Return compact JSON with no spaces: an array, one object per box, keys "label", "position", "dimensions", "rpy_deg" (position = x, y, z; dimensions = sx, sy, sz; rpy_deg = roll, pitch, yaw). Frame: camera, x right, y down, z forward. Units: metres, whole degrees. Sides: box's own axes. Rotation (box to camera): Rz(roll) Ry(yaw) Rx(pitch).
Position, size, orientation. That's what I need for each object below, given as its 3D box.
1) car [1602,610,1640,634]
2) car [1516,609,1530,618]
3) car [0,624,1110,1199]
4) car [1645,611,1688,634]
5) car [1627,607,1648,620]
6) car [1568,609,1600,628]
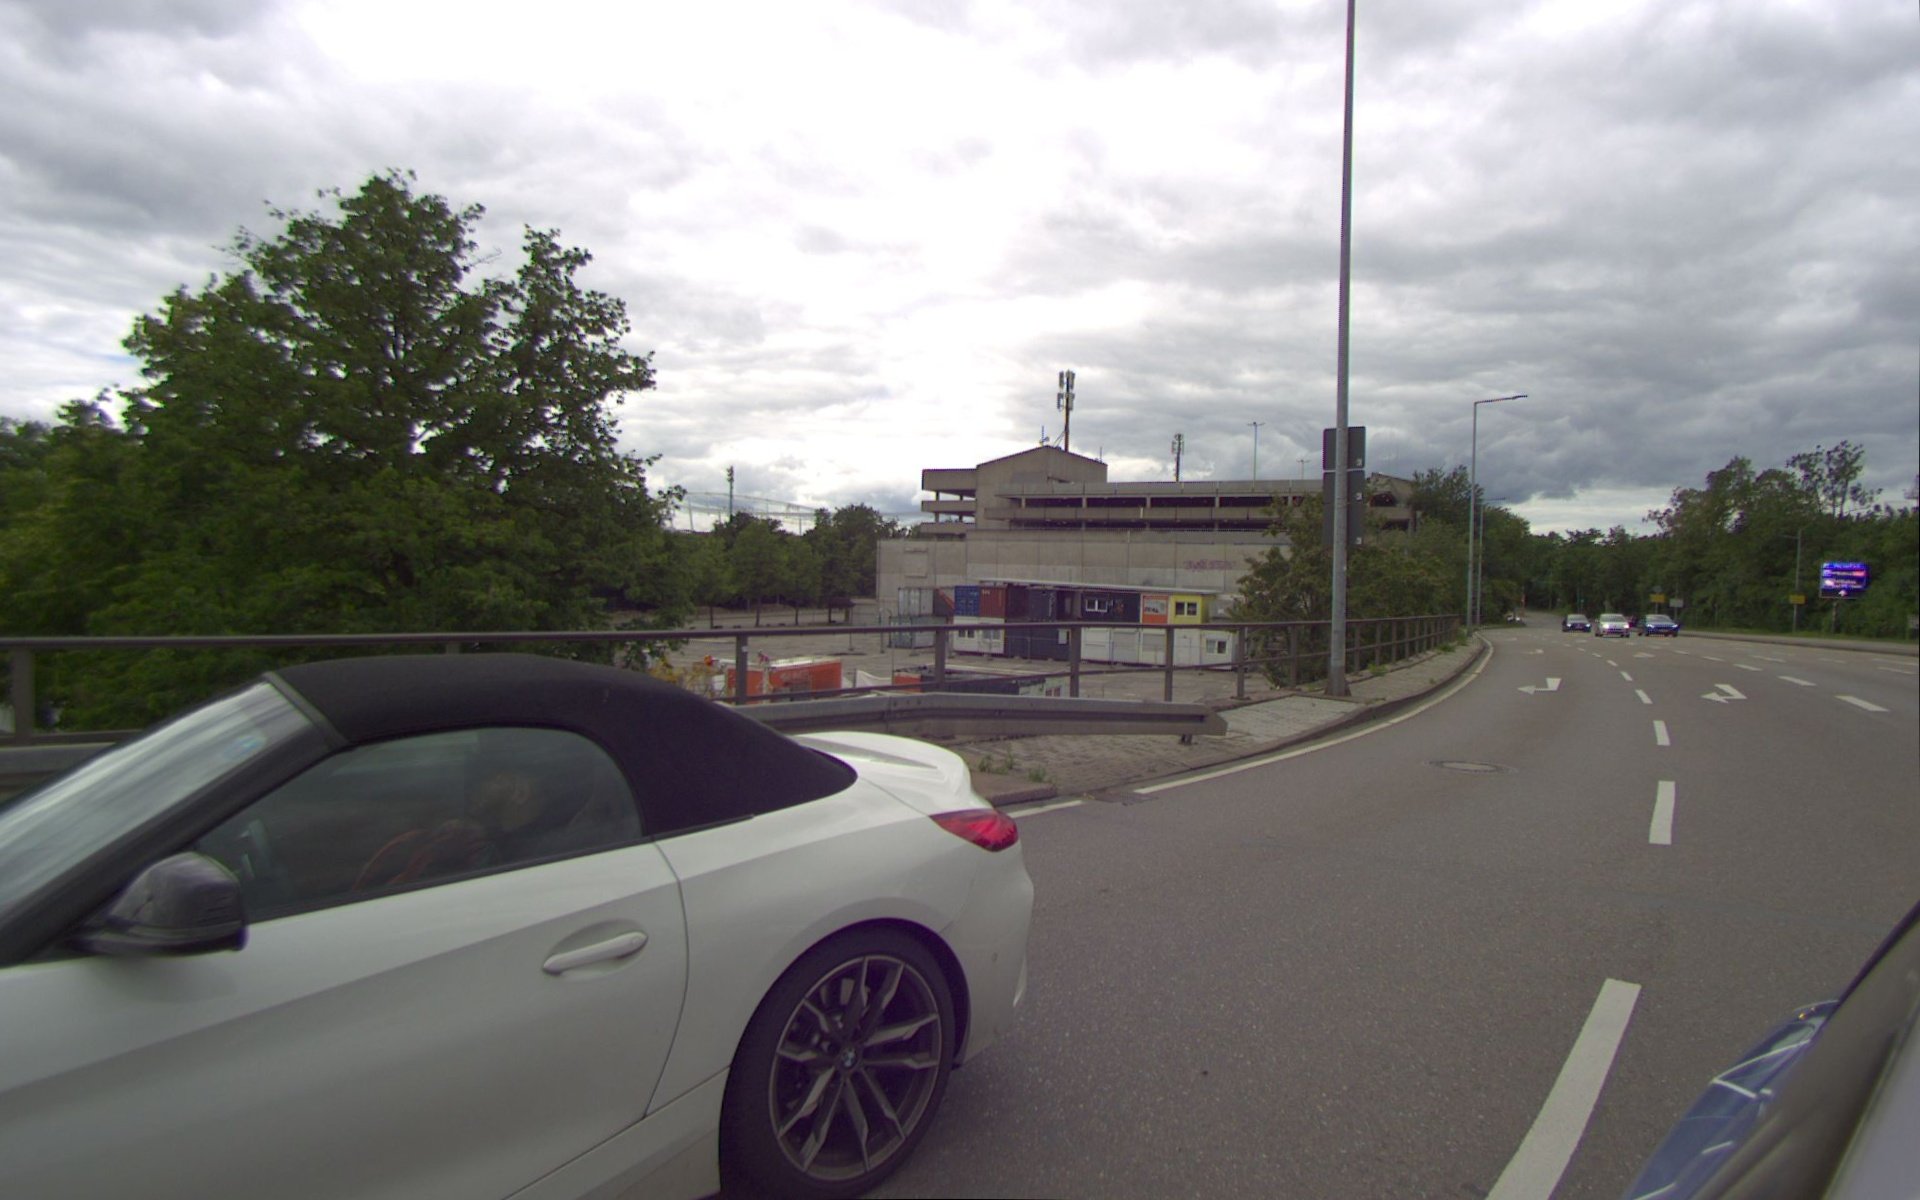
[{"label":"car","position":[41.187,1.353,63.102],"dimensions":[1.595,1.434,3.557],"rpy_deg":[1,0,27]},{"label":"car","position":[92.964,2.245,167.006],"dimensions":[1.848,1.434,4.297],"rpy_deg":[1,0,27]},{"label":"car","position":[-1.740,0.759,2.398],"dimensions":[4.186,1.308,1.809],"rpy_deg":[0,0,-39]},{"label":"car","position":[47.064,1.448,67.453],"dimensions":[1.827,1.434,4.533],"rpy_deg":[1,0,29]},{"label":"car","position":[85.200,1.693,127.286],"dimensions":[1.688,1.482,3.962],"rpy_deg":[-1,0,27]},{"label":"car","position":[50.293,1.504,81.596],"dimensions":[1.848,1.434,4.296],"rpy_deg":[1,0,28]}]
